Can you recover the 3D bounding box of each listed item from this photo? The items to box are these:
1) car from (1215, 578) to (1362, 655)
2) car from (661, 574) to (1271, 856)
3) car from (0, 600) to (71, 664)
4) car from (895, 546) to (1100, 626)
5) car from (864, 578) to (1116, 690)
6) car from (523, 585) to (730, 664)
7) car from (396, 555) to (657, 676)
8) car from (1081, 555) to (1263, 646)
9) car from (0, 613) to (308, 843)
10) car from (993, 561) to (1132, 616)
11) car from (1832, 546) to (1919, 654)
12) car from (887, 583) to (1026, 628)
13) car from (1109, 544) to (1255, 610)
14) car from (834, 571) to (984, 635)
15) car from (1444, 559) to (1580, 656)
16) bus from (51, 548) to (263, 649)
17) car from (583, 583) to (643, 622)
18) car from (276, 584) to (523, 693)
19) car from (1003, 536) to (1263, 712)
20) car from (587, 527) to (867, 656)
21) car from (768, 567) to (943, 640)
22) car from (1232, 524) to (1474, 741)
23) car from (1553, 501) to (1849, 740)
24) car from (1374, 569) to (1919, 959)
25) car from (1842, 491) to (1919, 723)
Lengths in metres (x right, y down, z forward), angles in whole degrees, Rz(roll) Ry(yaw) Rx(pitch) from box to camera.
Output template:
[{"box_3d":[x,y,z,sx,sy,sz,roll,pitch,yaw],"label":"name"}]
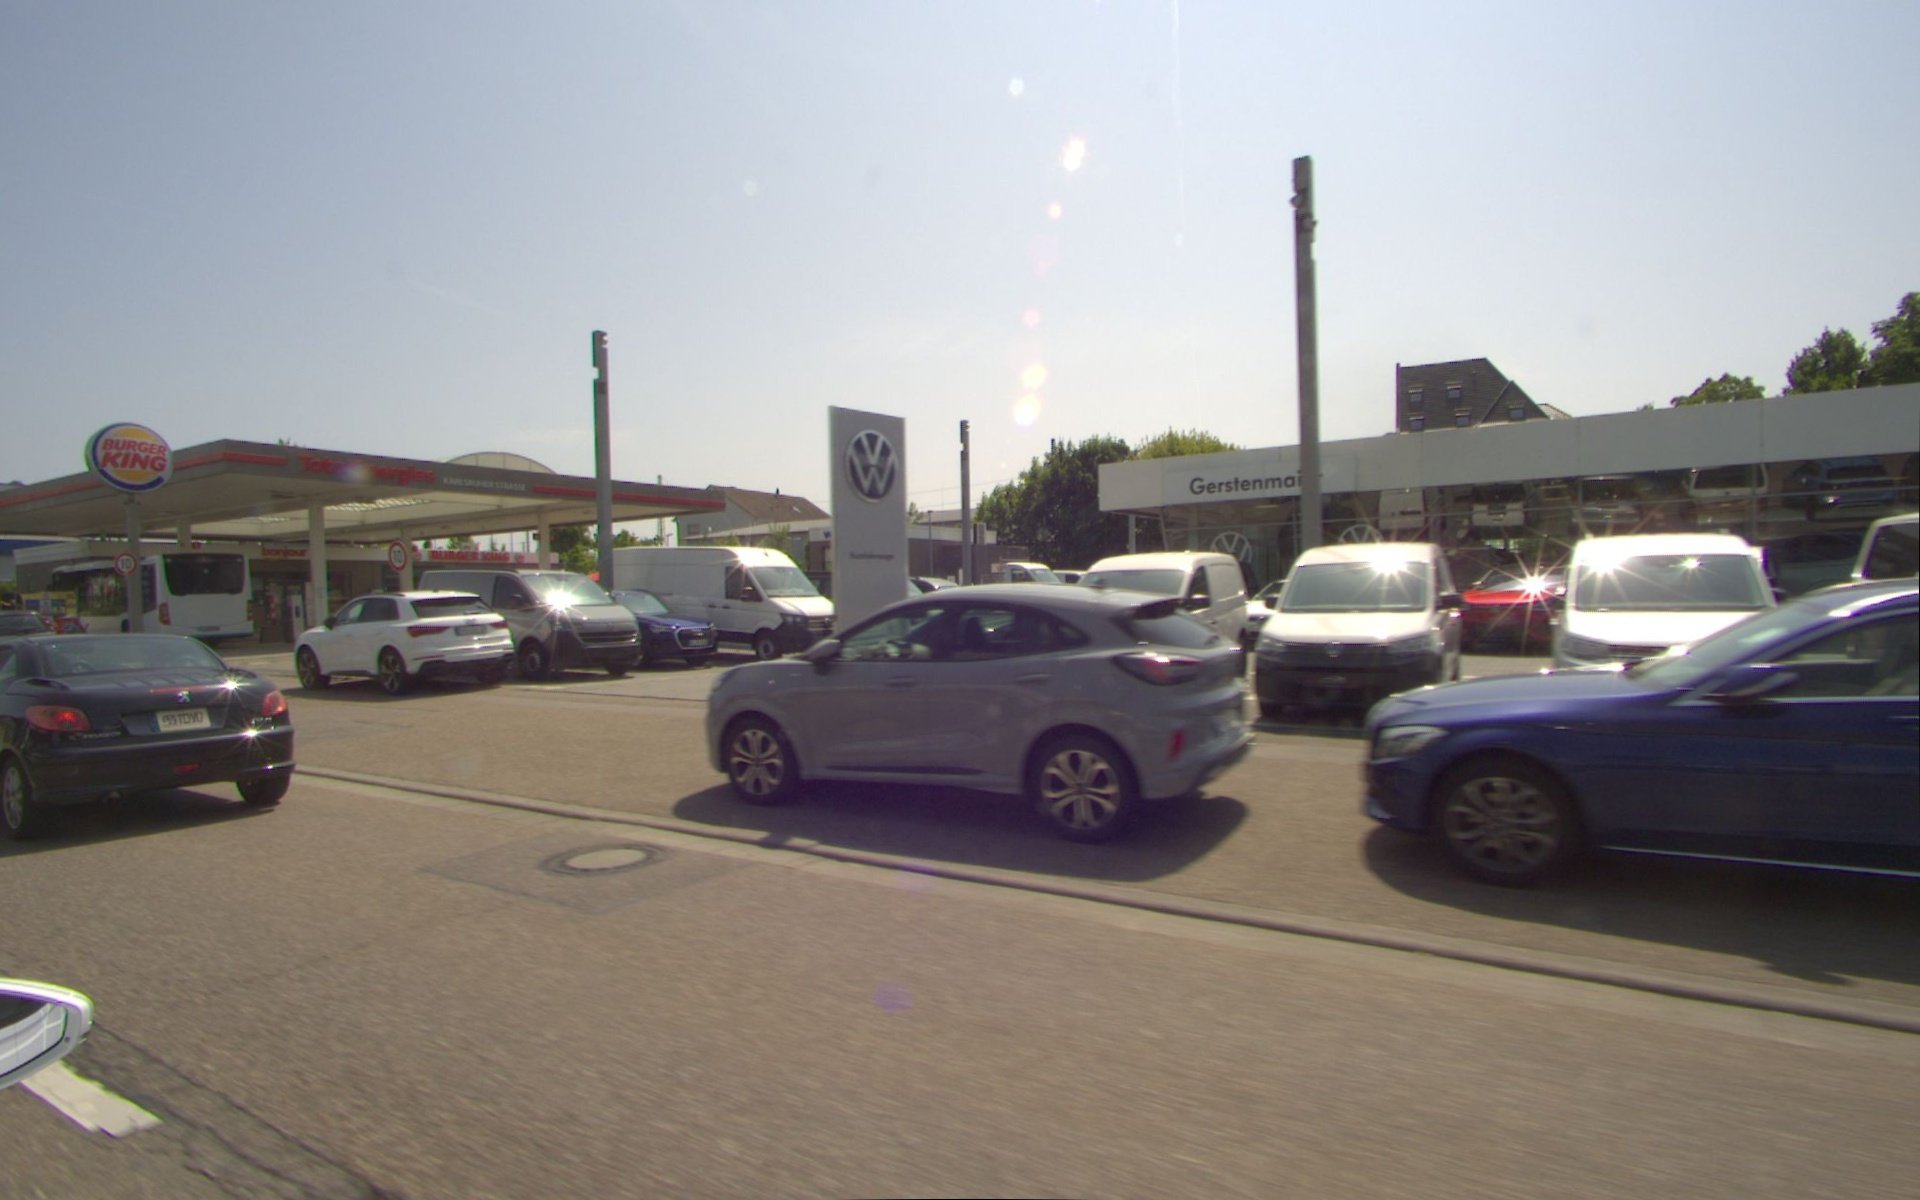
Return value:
[{"box_3d":[6.937,0.304,21.010,3.401,1.432,1.566,-2,2,-45],"label":"car"},{"box_3d":[-0.006,0.668,7.301,4.114,1.573,1.731,-1,0,27],"label":"car"},{"box_3d":[-25.061,0.831,26.218,3.765,1.540,1.653,-1,2,32],"label":"car"},{"box_3d":[1.216,-0.436,35.117,6.972,2.590,2.250,-1,2,33],"label":"car"},{"box_3d":[0.649,0.426,15.842,1.971,1.465,4.522,-1,1,32],"label":"car"},{"box_3d":[-7.193,0.510,21.432,4.534,1.533,1.740,-1,-1,32],"label":"car"},{"box_3d":[-8.316,0.308,19.068,5.086,2.049,1.990,-1,0,32],"label":"car"},{"box_3d":[4.862,-0.043,22.628,4.334,1.849,1.982,-2,2,-45],"label":"car"},{"box_3d":[-7.007,0.859,8.037,3.609,1.444,1.596,-1,0,32],"label":"car"},{"box_3d":[4.012,-0.395,39.743,5.282,2.020,1.740,-1,0,32],"label":"car"},{"box_3d":[15.119,-0.082,15.515,4.313,1.498,1.850,-3,3,-41],"label":"car"},{"box_3d":[-0.151,0.200,32.705,4.315,1.375,1.740,-1,-1,32],"label":"car"},{"box_3d":[10.702,-1.056,48.621,6.567,2.729,1.989,-3,-2,33],"label":"car"},{"box_3d":[-1.558,0.125,30.189,4.315,1.809,1.740,-1,-1,32],"label":"car"},{"box_3d":[10.341,0.104,18.627,1.834,1.592,3.975,-1,1,34],"label":"car"},{"box_3d":[-28.859,-0.071,35.672,12.121,3.120,2.795,0,1,36],"label":"bus"},{"box_3d":[-18.750,0.162,54.261,1.896,1.909,4.002,-2,-2,-2],"label":"car"},{"box_3d":[-9.619,0.600,17.071,4.546,1.618,1.663,-1,2,32],"label":"car"},{"box_3d":[2.465,0.228,13.231,1.881,1.907,4.403,-2,1,31],"label":"car"},{"box_3d":[-5.668,-0.165,23.856,6.918,2.712,2.250,-1,2,33],"label":"car"},{"box_3d":[-2.974,0.040,28.229,4.725,1.891,1.730,1,2,27],"label":"car"},{"box_3d":[4.608,0.234,11.269,1.830,1.914,4.546,-1,1,31],"label":"car"},{"box_3d":[6.931,0.127,9.810,1.855,1.804,4.141,-3,1,31],"label":"car"},{"box_3d":[4.572,0.645,4.630,4.720,1.569,1.710,-2,1,30],"label":"car"},{"box_3d":[9.414,0.045,8.533,1.931,2.041,4.630,0,2,30],"label":"car"}]
